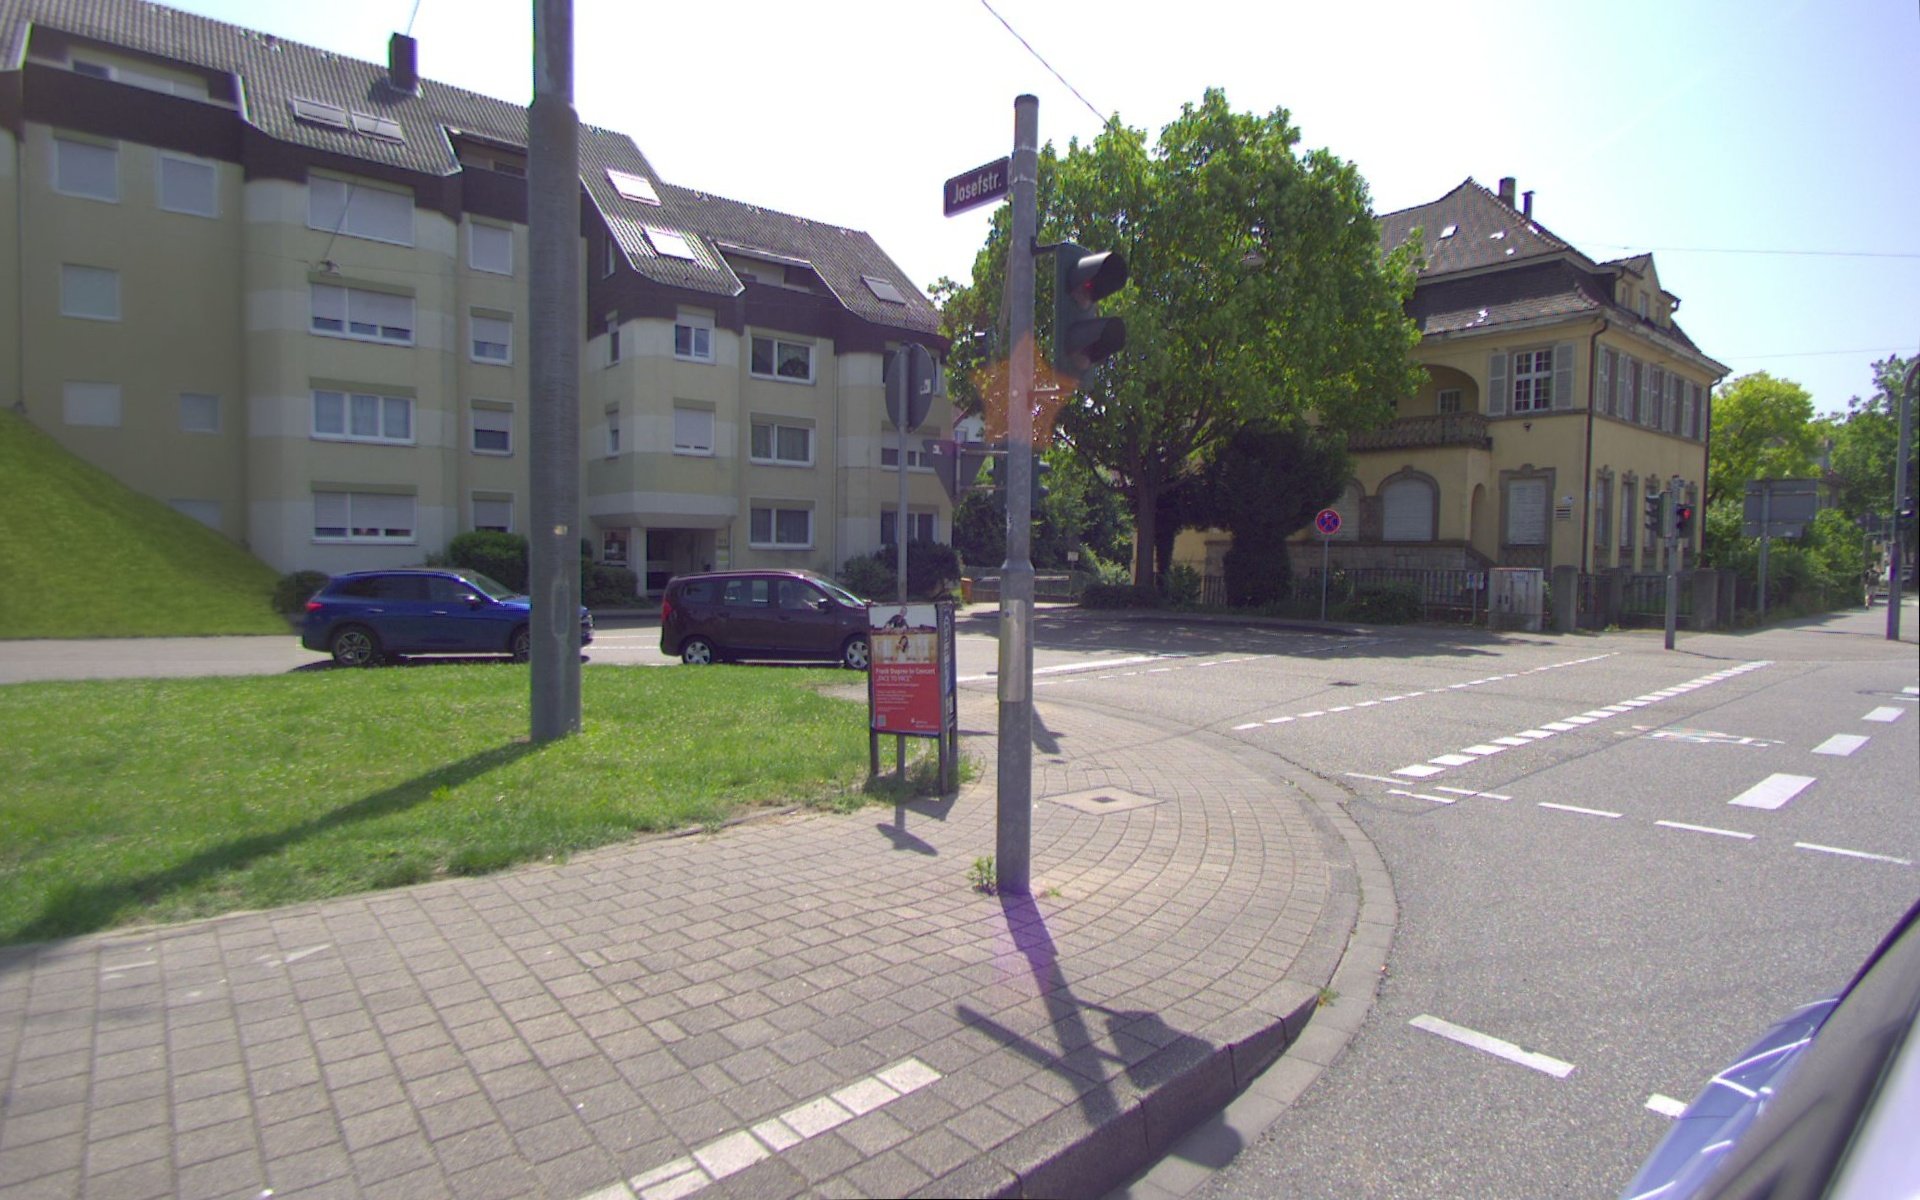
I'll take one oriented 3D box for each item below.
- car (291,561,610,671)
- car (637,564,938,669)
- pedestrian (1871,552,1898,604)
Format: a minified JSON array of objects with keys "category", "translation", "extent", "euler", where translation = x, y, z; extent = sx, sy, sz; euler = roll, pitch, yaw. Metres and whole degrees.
[{"category":"car","translation":[-8.805,0.215,17.956],"extent":[4.669,1.721,2.005],"euler":[-1,3,-11]},{"category":"car","translation":[-2.863,0.244,17.380],"extent":[4.736,1.652,1.915],"euler":[0,2,7]},{"category":"pedestrian","translation":[34.903,-0.828,38.208],"extent":[0.731,1.941,0.620],"euler":[-2,3,-42]}]
